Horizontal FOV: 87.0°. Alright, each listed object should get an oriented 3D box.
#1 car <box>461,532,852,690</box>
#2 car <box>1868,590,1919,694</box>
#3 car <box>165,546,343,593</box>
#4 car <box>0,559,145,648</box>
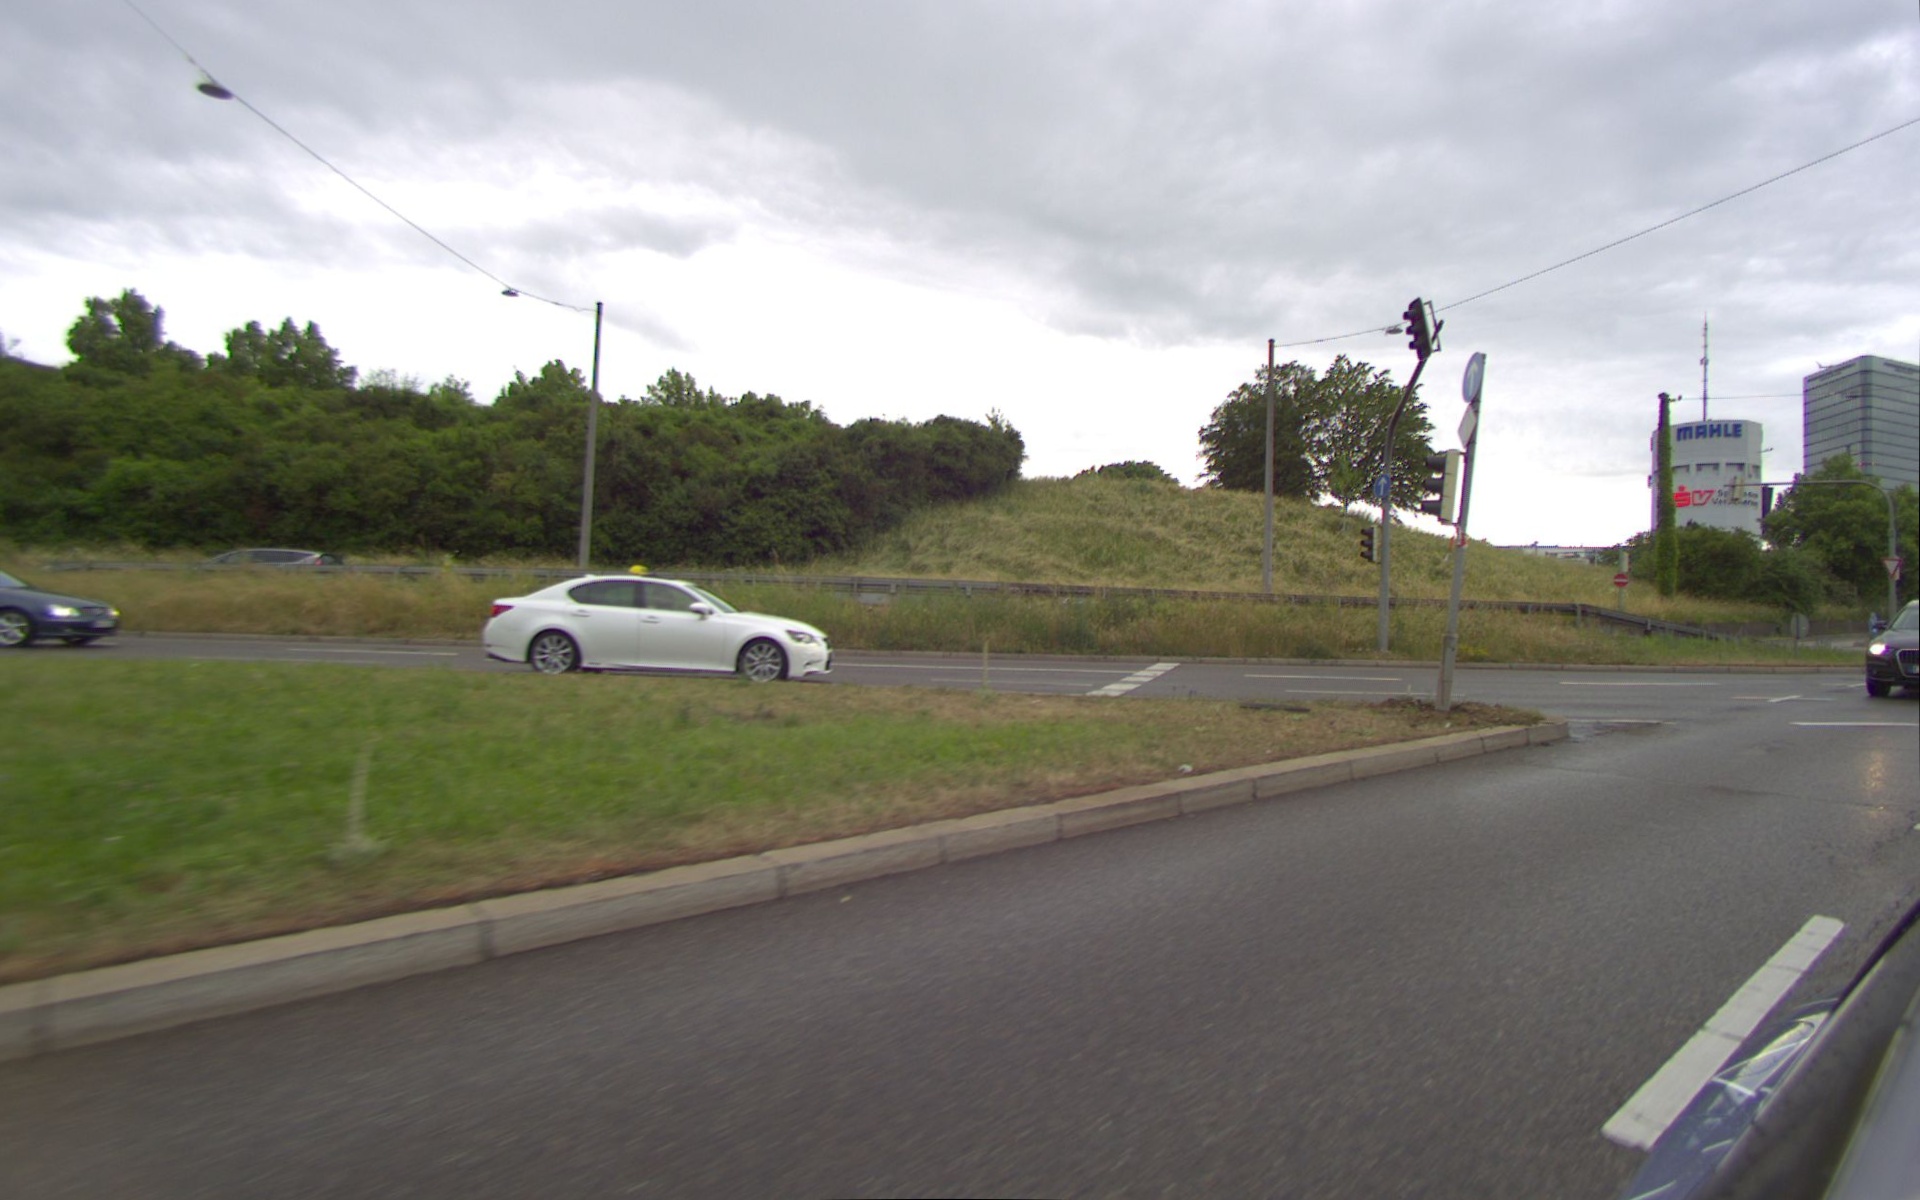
[{"bbox_3d":[-4.112,0.124,14.427,4.894,1.665,2.077,5,1,-2],"label":"car"},{"bbox_3d":[16.937,0.679,16.897,4.201,1.621,1.927,1,-2,-38],"label":"car"},{"bbox_3d":[-21.714,-0.916,31.270,4.141,1.367,1.785,0,-2,-8],"label":"car"},{"bbox_3d":[-16.542,-0.014,16.675,4.458,1.368,1.847,3,-1,-12],"label":"car"}]
